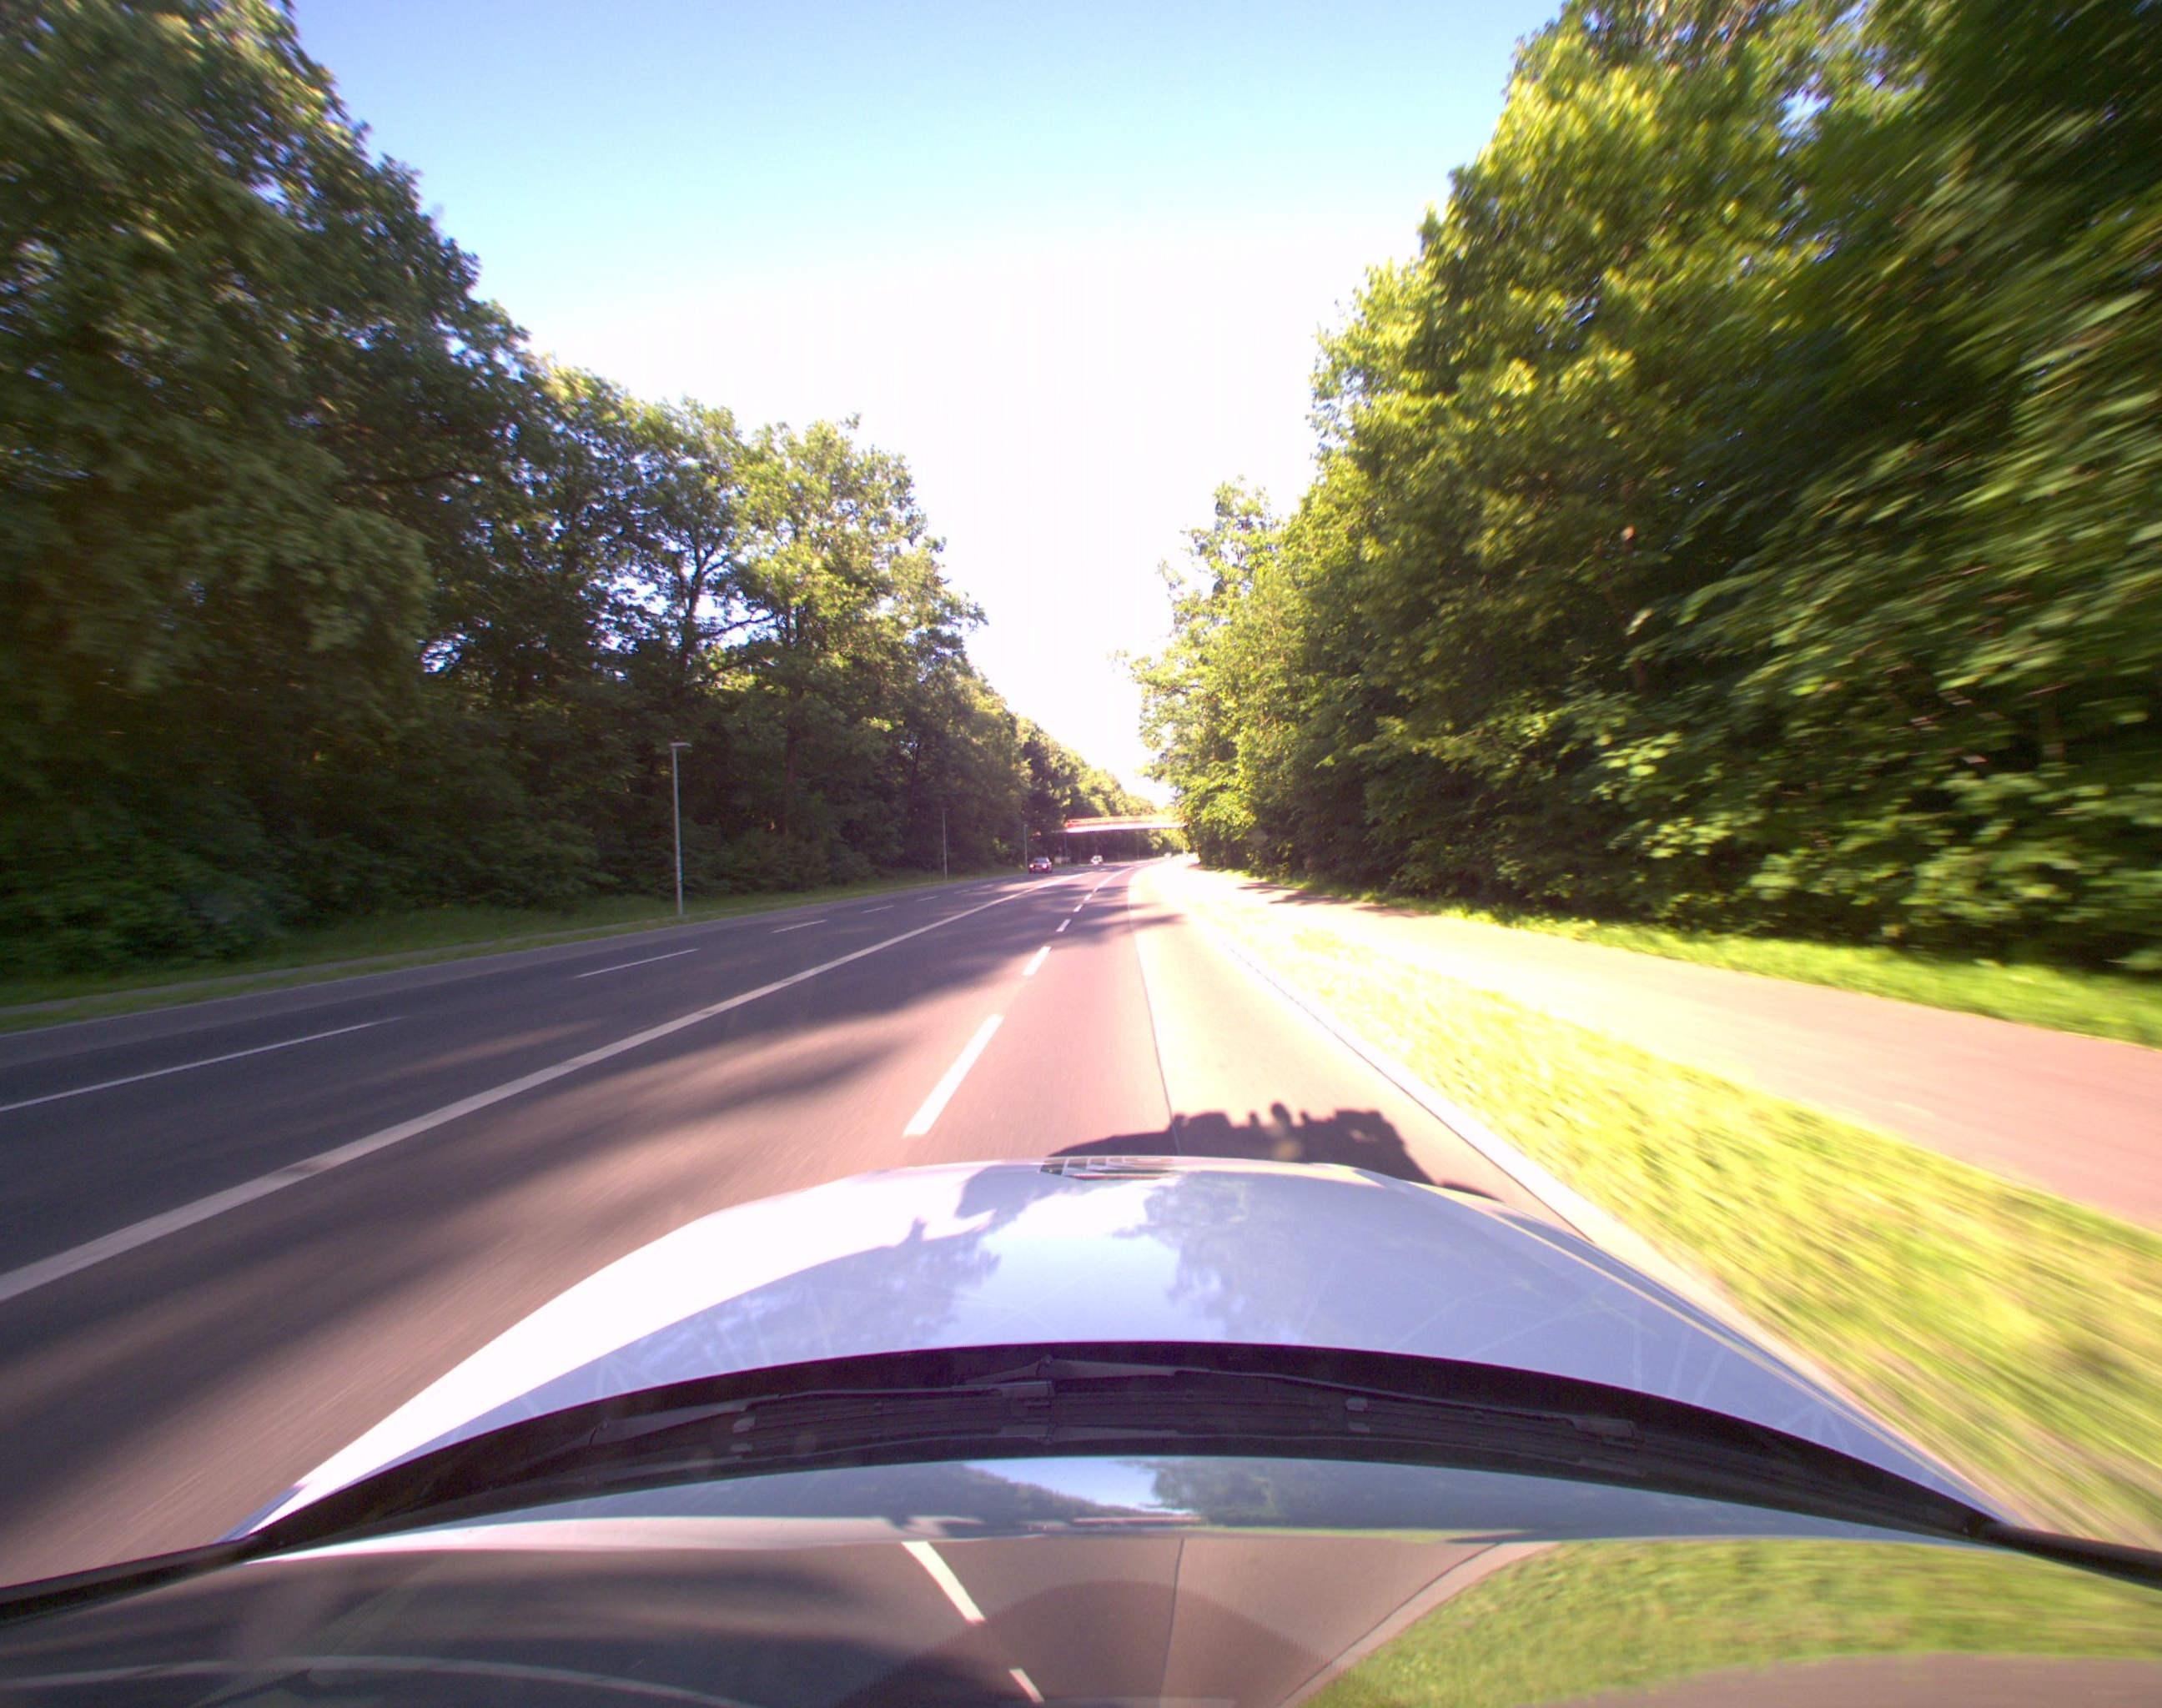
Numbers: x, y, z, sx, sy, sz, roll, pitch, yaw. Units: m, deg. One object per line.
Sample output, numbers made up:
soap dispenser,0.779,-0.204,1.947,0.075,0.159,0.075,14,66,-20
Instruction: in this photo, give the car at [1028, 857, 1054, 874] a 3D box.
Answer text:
car,-3.593,0.988,73.824,1.702,1.423,4.136,-2,0,5

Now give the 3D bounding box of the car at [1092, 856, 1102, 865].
car,2.521,1.008,128.019,1.489,1.444,3.502,-2,0,2
